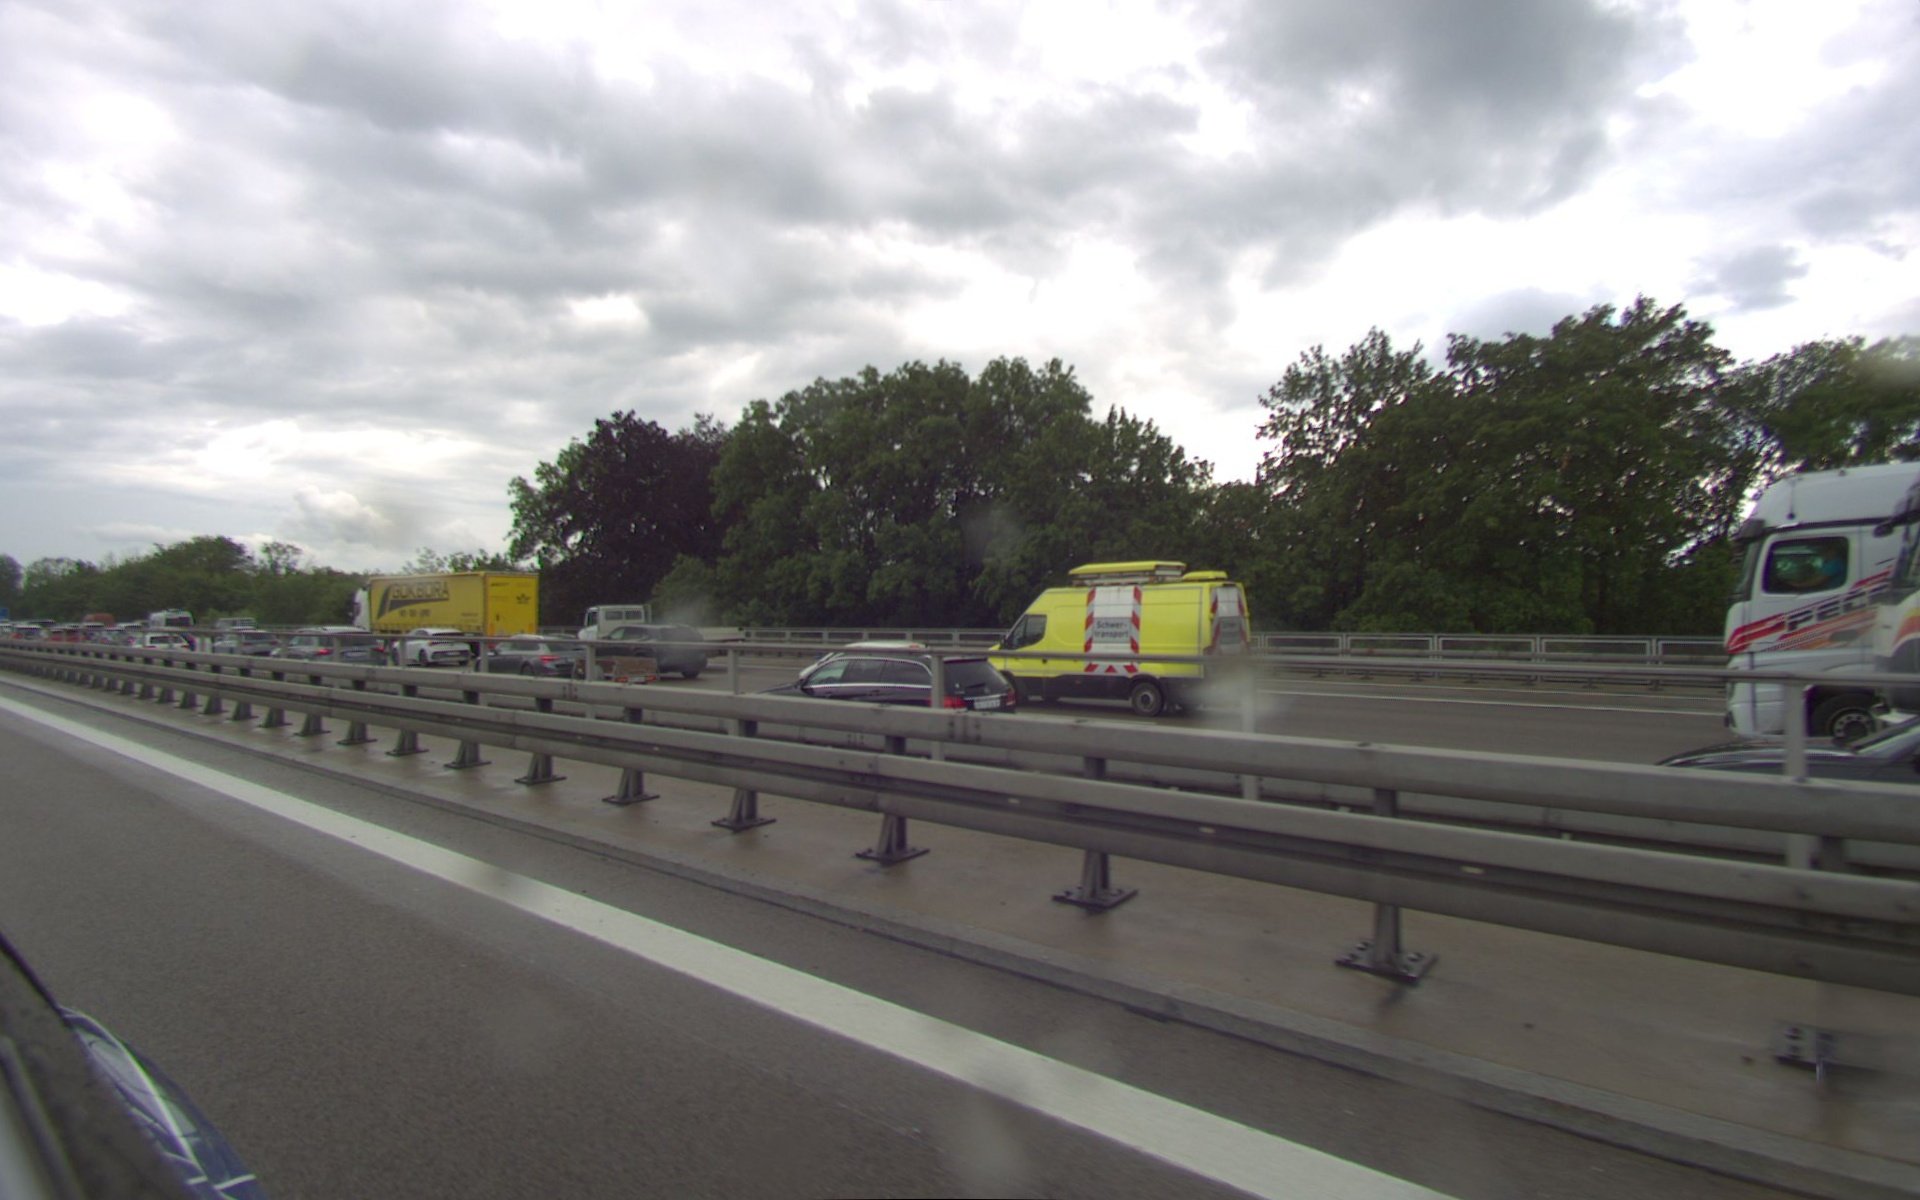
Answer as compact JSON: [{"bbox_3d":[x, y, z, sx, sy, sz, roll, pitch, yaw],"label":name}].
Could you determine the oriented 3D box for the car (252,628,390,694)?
[{"bbox_3d":[-18.994,1.730,29.983,5.327,1.780,1.894,-1,-2,40],"label":"car"}]

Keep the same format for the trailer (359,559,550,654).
[{"bbox_3d":[-26.008,0.445,51.424,14.497,4.260,3.214,-1,-2,40],"label":"trailer"}]

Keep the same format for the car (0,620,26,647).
[{"bbox_3d":[-67.853,2.392,71.499,5.700,1.840,1.848,-2,-2,38],"label":"car"}]

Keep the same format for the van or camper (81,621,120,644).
[{"bbox_3d":[-88.326,3.298,103.950,6.227,2.322,1.921,-1,-2,39],"label":"van or camper"}]

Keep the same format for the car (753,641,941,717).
[{"bbox_3d":[-2.458,1.592,21.382,4.097,1.397,1.585,-1,-2,40],"label":"car"}]

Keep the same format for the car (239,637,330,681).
[{"bbox_3d":[-26.892,2.301,40.260,4.412,1.589,1.731,-1,-2,38],"label":"car"}]

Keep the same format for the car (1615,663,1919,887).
[{"bbox_3d":[7.800,1.248,7.123,5.160,1.429,1.903,-1,-2,40],"label":"car"}]

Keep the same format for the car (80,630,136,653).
[{"bbox_3d":[-54.830,2.658,65.111,4.469,1.436,1.799,-1,-2,37],"label":"car"}]

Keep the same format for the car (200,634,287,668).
[{"bbox_3d":[-33.274,2.318,46.936,5.212,1.491,1.792,-1,-2,37],"label":"car"}]

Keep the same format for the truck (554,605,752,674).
[{"bbox_3d":[-11.974,1.458,38.795,9.267,2.389,2.653,-1,-2,40],"label":"truck"}]

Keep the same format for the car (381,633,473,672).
[{"bbox_3d":[-22.042,2.120,41.764,4.412,1.490,1.731,-1,-2,38],"label":"car"}]

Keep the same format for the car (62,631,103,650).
[{"bbox_3d":[-73.870,3.377,85.180,3.994,1.523,1.860,-1,-2,38],"label":"car"}]

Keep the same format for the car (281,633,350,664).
[{"bbox_3d":[-32.377,2.393,50.788,4.050,1.449,1.804,-1,-2,40],"label":"car"}]

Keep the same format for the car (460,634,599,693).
[{"bbox_3d":[-12.679,1.797,29.667,4.683,1.589,1.731,-1,-2,38],"label":"car"}]

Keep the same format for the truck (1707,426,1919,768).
[{"bbox_3d":[13.777,-0.032,12.457,7.099,4.179,2.873,-1,-2,42],"label":"truck"}]

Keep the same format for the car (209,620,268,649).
[{"bbox_3d":[-51.930,2.477,72.811,5.404,2.029,1.975,-1,-2,38],"label":"car"}]

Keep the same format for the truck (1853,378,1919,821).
[{"bbox_3d":[12.647,-0.039,8.479,7.551,4.212,2.851,-1,-2,40],"label":"truck"}]

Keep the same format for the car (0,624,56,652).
[{"bbox_3d":[-58.785,2.362,63.706,5.166,1.682,1.849,-2,-2,38],"label":"car"}]

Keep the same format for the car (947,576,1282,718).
[{"bbox_3d":[2.979,0.921,21.028,6.767,2.524,2.134,-1,-2,40],"label":"car"}]

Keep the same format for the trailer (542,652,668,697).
[{"bbox_3d":[-9.541,1.968,27.145,3.337,1.045,1.708,-1,-2,39],"label":"trailer"}]

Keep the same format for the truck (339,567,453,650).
[{"bbox_3d":[-31.091,0.551,55.727,6.876,4.282,3.214,-1,-2,40],"label":"truck"}]

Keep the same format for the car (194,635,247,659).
[{"bbox_3d":[-44.092,2.786,60.322,3.993,1.310,1.434,-1,-2,37],"label":"car"}]

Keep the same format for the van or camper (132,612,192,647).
[{"bbox_3d":[-66.245,2.462,83.944,7.220,2.786,2.181,-2,-2,38],"label":"van or camper"}]

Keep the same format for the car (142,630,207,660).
[{"bbox_3d":[-44.081,2.484,56.761,4.570,1.624,1.762,-1,-2,37],"label":"car"}]

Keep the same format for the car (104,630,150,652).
[{"bbox_3d":[-64.420,3.160,78.240,4.456,1.625,1.711,-1,-2,37],"label":"car"}]

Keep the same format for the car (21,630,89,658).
[{"bbox_3d":[-50.009,2.414,55.890,4.834,1.474,1.975,-2,-2,38],"label":"car"}]

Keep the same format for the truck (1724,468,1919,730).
[{"bbox_3d":[16.306,-0.001,15.948,6.574,4.024,2.730,-1,-2,42],"label":"truck"}]

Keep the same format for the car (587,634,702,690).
[{"bbox_3d":[-9.875,1.874,31.579,3.997,1.608,1.518,-1,-2,40],"label":"car"}]

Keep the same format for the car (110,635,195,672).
[{"bbox_3d":[-33.685,2.190,42.178,4.814,1.393,1.745,-1,-2,38],"label":"car"}]

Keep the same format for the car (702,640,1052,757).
[{"bbox_3d":[-1.417,1.336,15.220,5.455,1.397,1.994,-1,-2,40],"label":"car"}]
